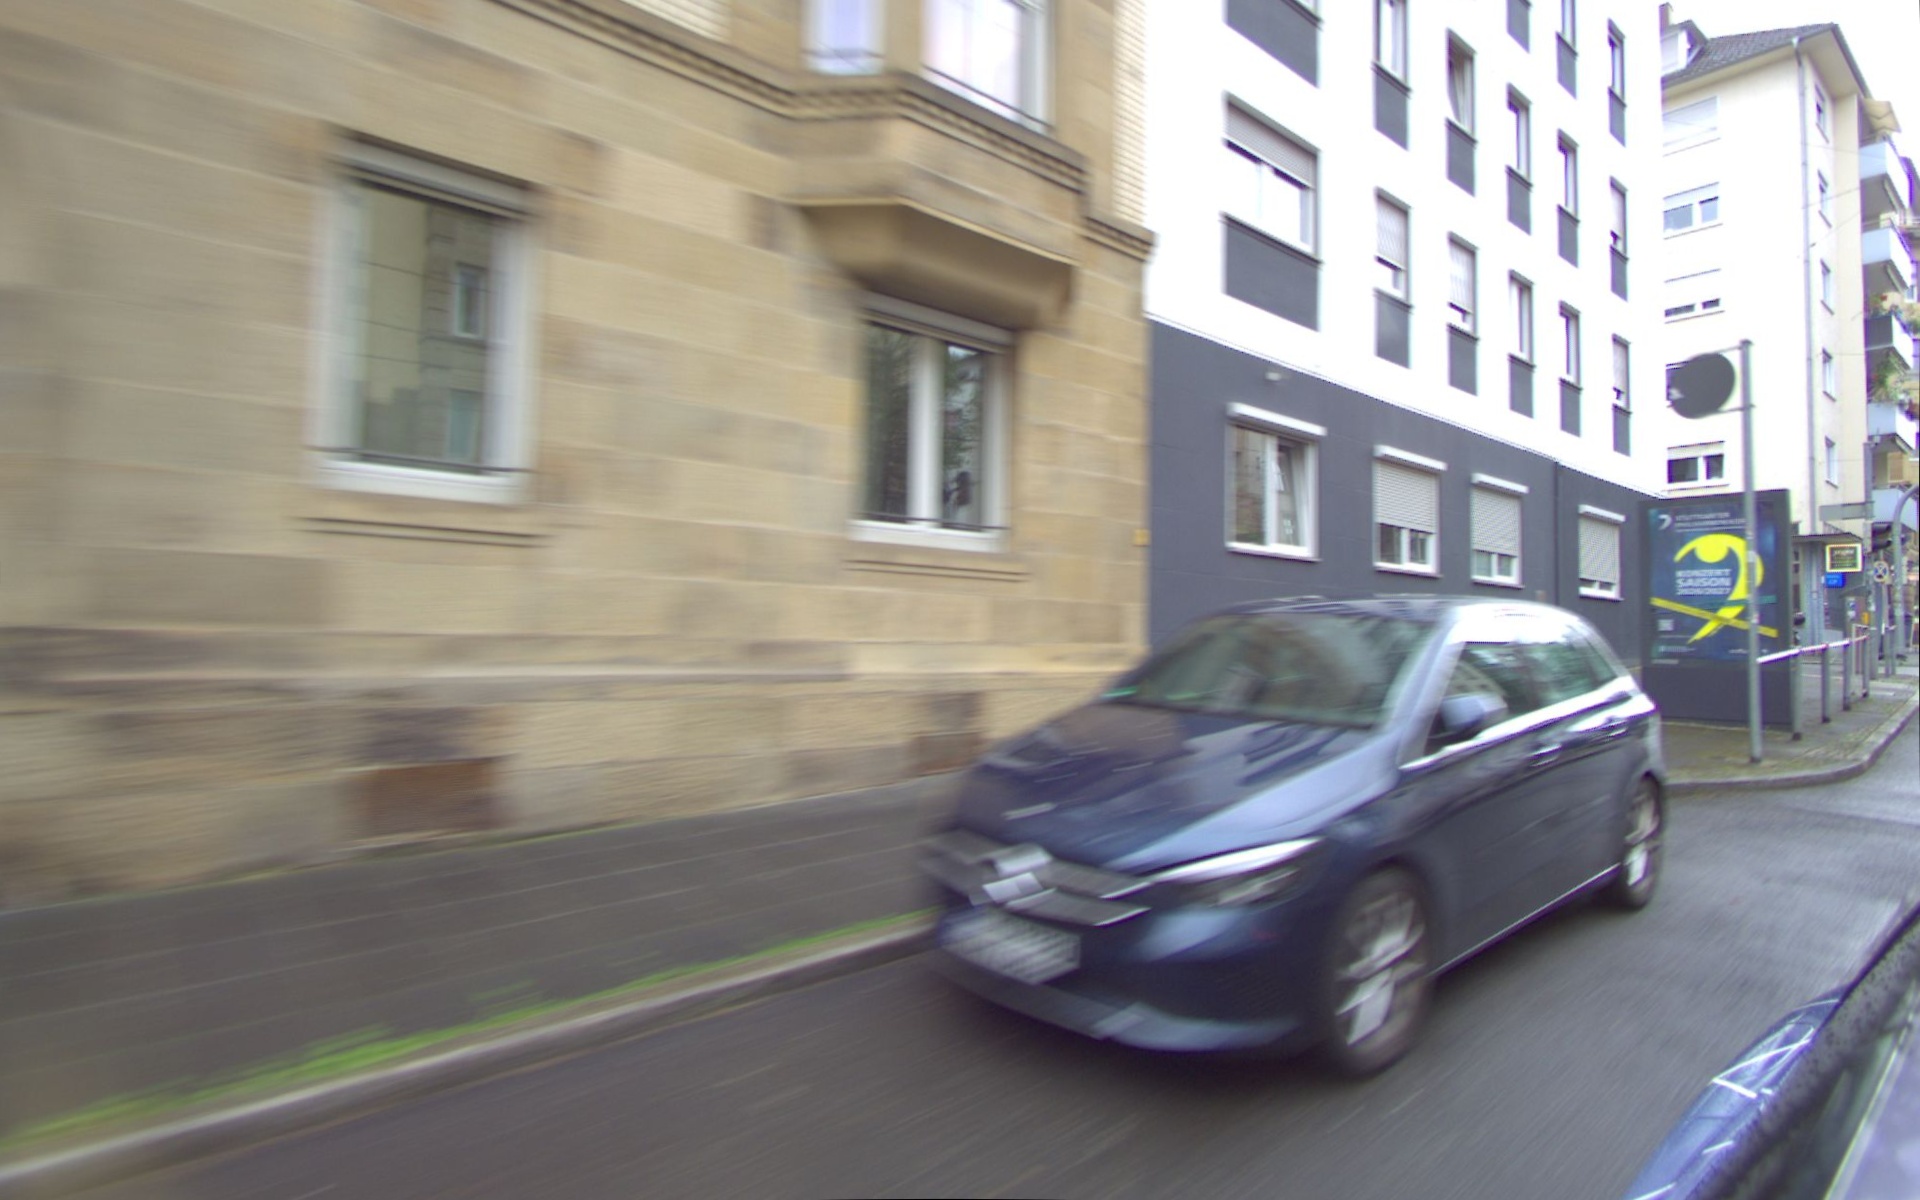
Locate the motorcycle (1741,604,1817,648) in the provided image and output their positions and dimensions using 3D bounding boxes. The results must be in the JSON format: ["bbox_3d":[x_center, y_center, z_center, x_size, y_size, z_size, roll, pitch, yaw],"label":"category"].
[{"bbox_3d":[24.485,0.762,30.279,0.589,1.176,1.649,0,3,-38],"label":"motorcycle"}]

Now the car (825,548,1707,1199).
[{"bbox_3d":[1.723,0.825,4.677,4.402,1.831,1.772,1,-2,-40],"label":"car"}]
